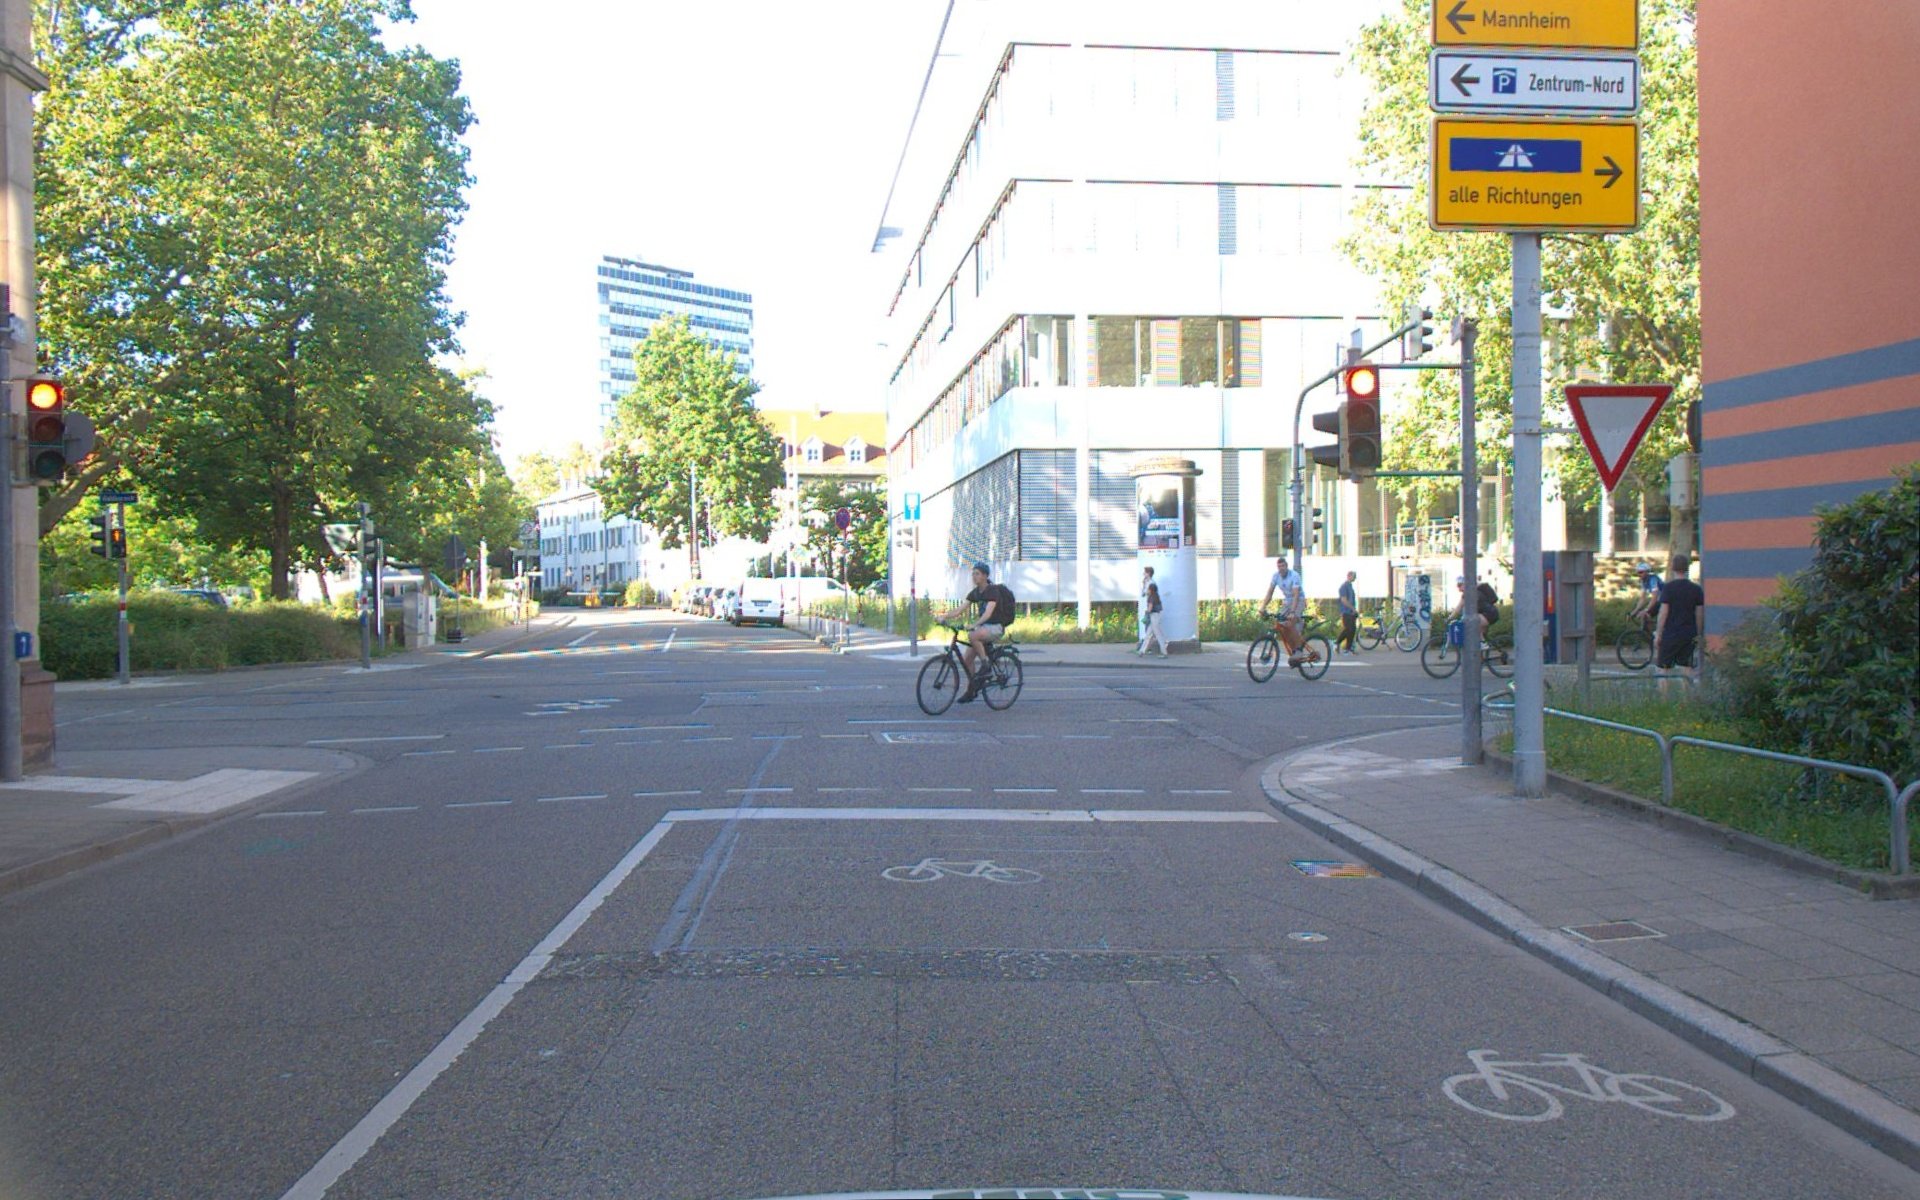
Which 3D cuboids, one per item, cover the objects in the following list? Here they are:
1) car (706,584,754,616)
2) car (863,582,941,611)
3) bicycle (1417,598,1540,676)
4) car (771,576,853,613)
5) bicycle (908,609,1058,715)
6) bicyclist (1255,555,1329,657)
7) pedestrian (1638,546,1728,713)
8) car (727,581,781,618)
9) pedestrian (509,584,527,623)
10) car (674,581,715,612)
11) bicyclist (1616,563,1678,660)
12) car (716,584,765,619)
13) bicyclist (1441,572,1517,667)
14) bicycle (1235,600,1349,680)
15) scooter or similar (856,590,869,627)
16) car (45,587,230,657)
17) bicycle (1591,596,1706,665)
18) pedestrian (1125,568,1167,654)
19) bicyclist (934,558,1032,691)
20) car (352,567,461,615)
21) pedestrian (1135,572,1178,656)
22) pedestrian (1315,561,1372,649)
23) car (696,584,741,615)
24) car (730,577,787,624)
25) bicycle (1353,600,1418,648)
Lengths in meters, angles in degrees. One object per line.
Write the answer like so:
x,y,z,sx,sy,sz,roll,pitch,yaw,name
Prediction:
-11.310,0.000,81.084,1.959,1.525,4.272,1,0,-13,car
-3.678,-0.219,104.724,4.563,1.755,1.991,1,0,-17,car
8.165,0.573,26.086,1.744,1.172,0.627,-1,0,-7,bicycle
-9.203,-0.337,102.798,4.718,2.196,1.990,1,0,-18,car
0.295,0.717,19.898,1.954,1.172,0.583,-1,1,-43,bicycle
5.146,0.089,25.629,0.909,1.549,0.695,-1,0,-38,bicyclist
8.180,0.327,18.720,0.713,1.842,0.691,1,-1,-42,pedestrian
-8.871,-0.011,70.903,1.958,1.525,4.639,1,0,-11,car
-18.368,0.144,68.663,0.688,1.614,0.634,1,-1,-16,pedestrian
-15.387,-0.201,95.605,1.960,1.755,4.635,1,0,-14,car
11.979,0.198,28.871,0.806,1.657,0.627,-1,0,0,bicyclist
-10.197,0.067,76.653,1.958,1.525,4.639,1,0,-11,car
8.176,0.300,26.079,0.952,1.471,0.627,-1,0,-6,bicyclist
5.158,0.597,25.621,1.949,1.172,0.619,-1,0,-38,bicycle
-3.431,0.274,58.237,0.429,1.278,1.418,-1,0,-5,scooter or similar
-18.369,0.484,37.065,3.347,1.483,1.646,1,0,-11,car
12.002,0.527,28.877,1.742,1.172,0.627,-1,0,0,bicycle
4.019,0.233,35.791,0.749,1.826,0.648,1,-1,21,pedestrian
0.282,0.283,19.905,1.070,1.554,0.583,-1,0,-43,bicyclist
-24.965,-0.385,74.682,4.363,2.049,1.995,1,0,-10,car
4.142,0.298,34.887,0.749,1.749,0.648,1,-1,21,pedestrian
8.237,0.109,35.550,0.754,1.847,0.904,1,-1,-38,pedestrian
-12.554,-0.042,85.790,1.959,1.525,4.637,1,0,-13,car
-7.919,0.023,64.703,1.957,1.755,4.641,1,0,-10,car
9.321,0.515,36.284,0.376,1.026,1.410,-1,0,-42,bicycle
